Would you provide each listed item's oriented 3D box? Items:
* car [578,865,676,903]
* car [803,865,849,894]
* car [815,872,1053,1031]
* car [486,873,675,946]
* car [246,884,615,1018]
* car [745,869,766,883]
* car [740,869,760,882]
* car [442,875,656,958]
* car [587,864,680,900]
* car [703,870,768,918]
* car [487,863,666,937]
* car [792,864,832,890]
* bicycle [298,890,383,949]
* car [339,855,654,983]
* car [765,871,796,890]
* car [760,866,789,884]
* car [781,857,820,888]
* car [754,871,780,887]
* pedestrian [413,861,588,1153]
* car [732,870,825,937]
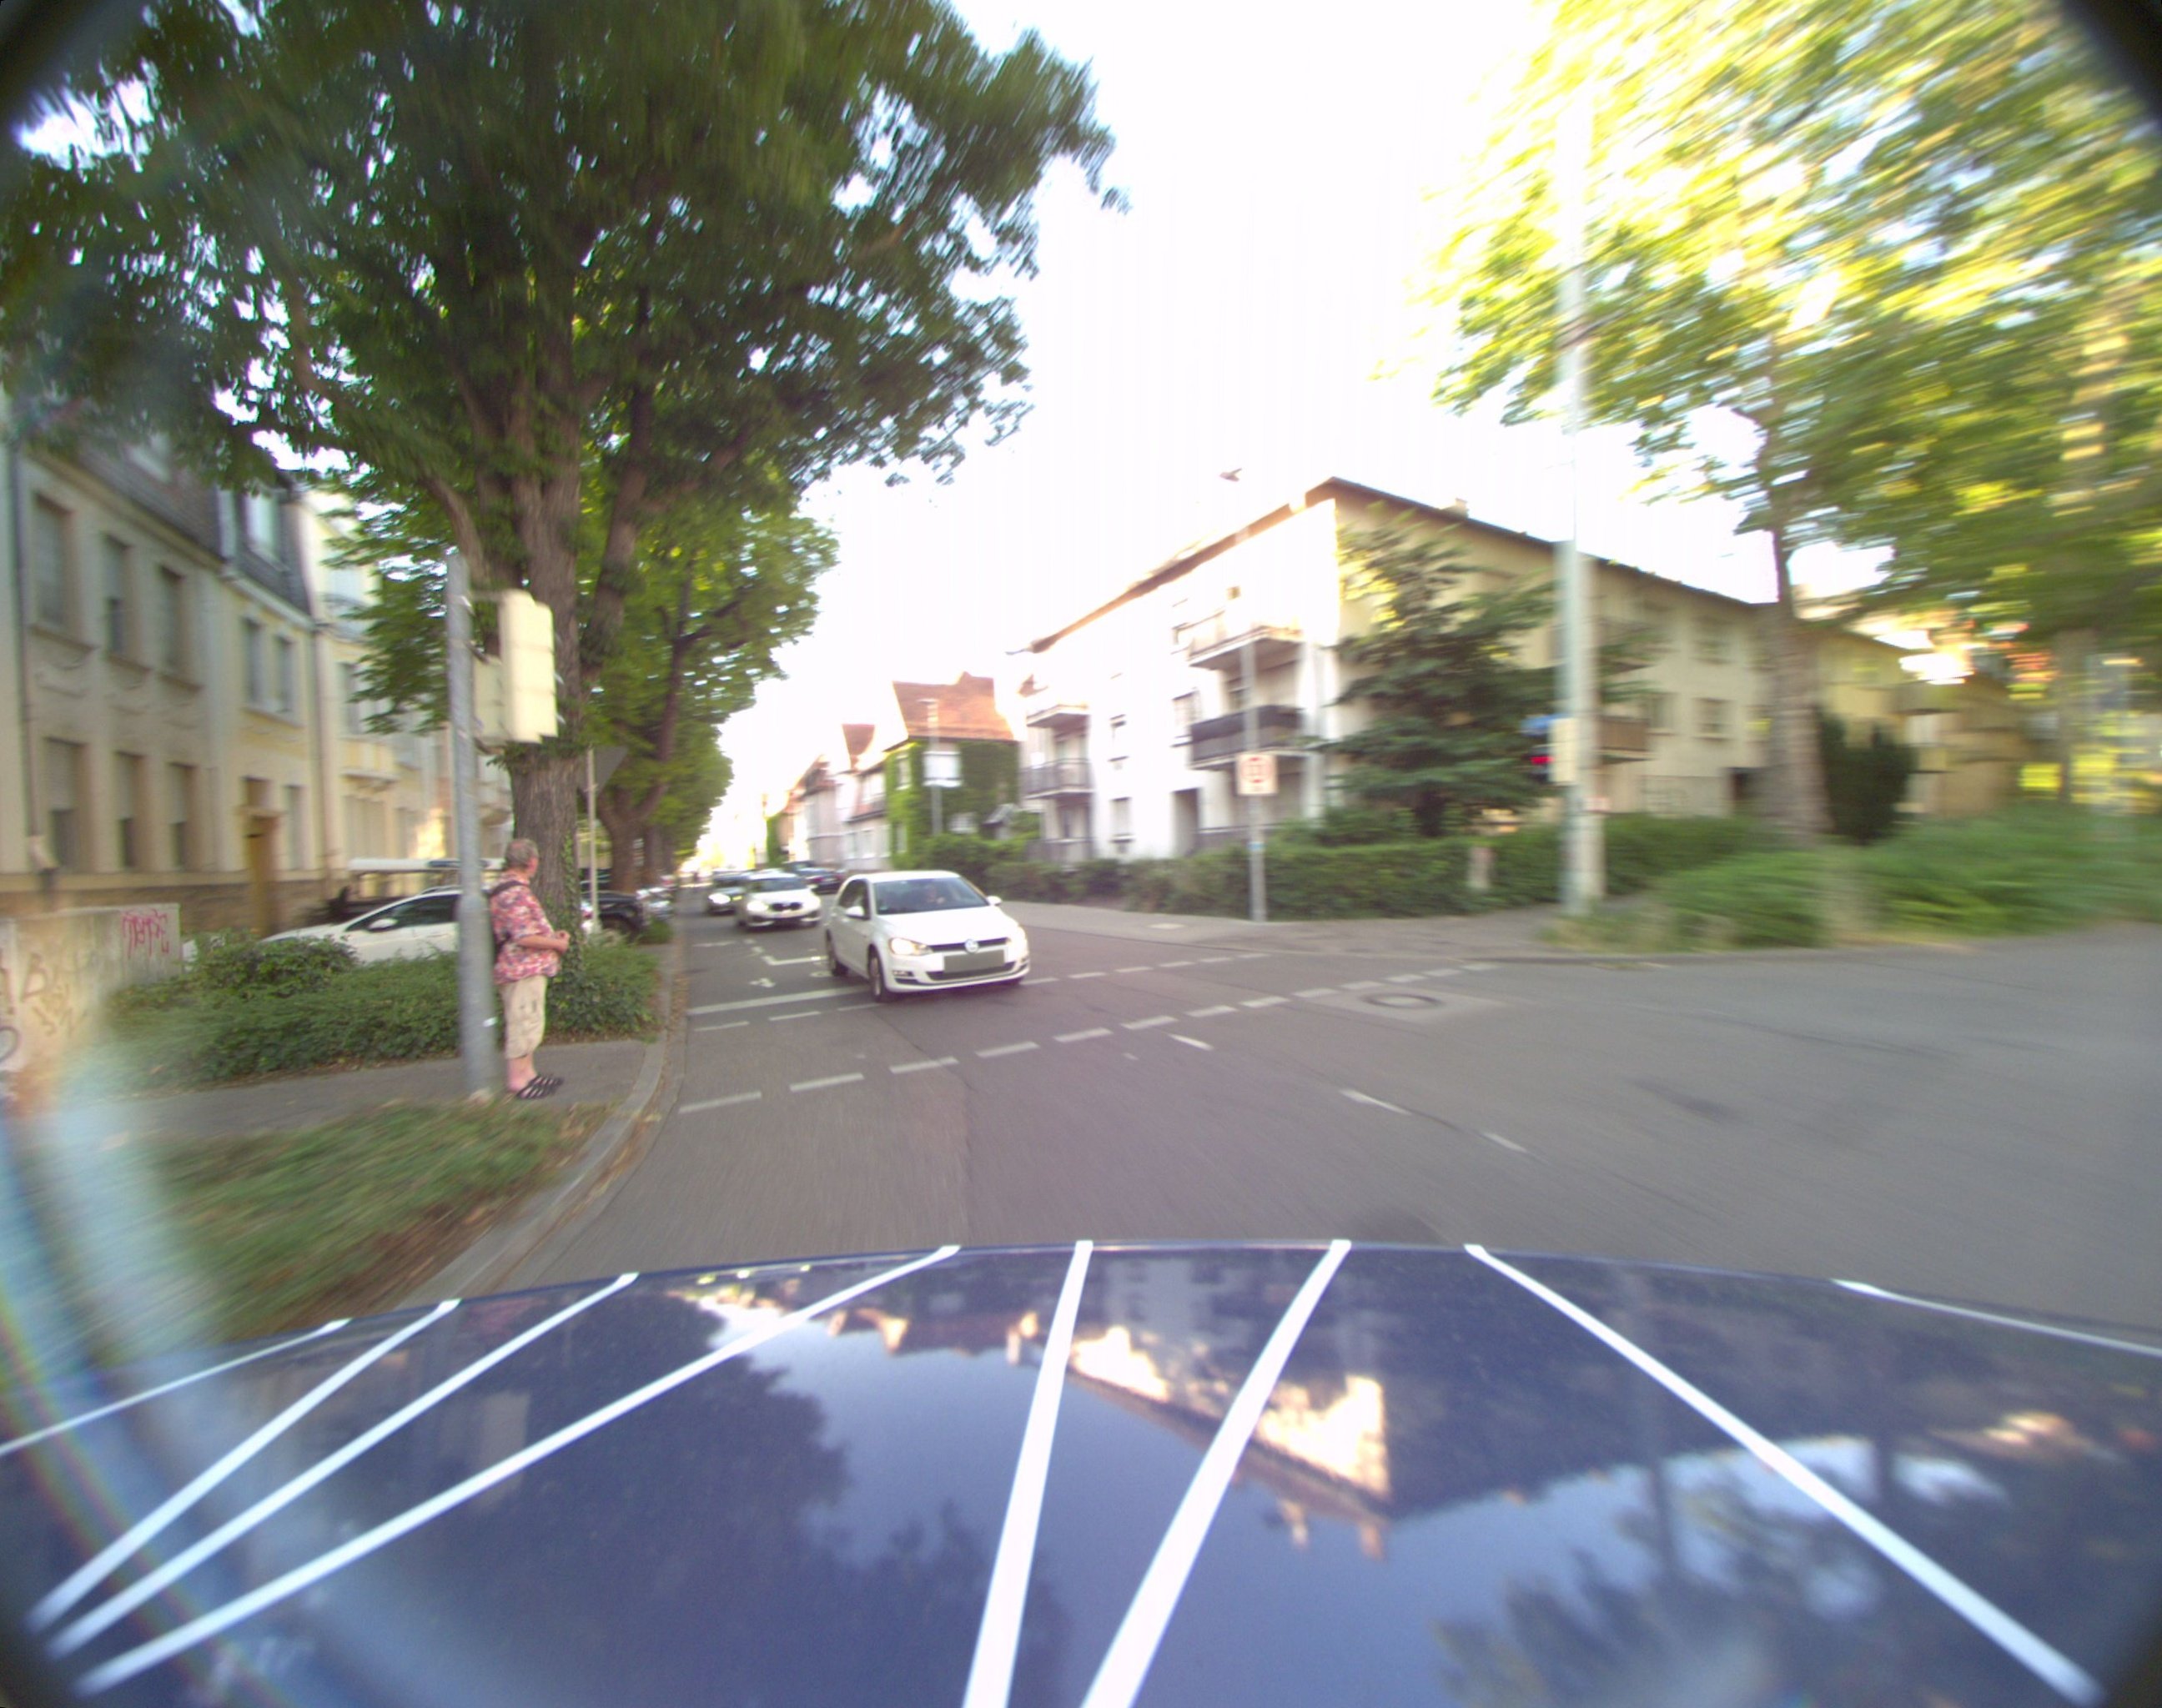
[{"bbox_3d":[-26.497,1.691,44.528,4.719,1.863,1.995,-4,1,-29],"label":"car"},{"bbox_3d":[-14.239,1.394,42.265,1.696,1.445,3.991,-4,1,-28],"label":"car"},{"bbox_3d":[-2.129,1.037,9.913,1.847,1.442,4.102,-4,1,-28],"label":"car"},{"bbox_3d":[-13.963,1.472,21.528,4.217,1.598,1.995,-4,2,-29],"label":"car"},{"bbox_3d":[-9.693,1.357,11.812,4.054,1.566,1.680,-2,0,-29],"label":"car"},{"bbox_3d":[-38.730,2.599,90.328,1.824,1.419,4.279,-4,1,-28],"label":"car"},{"bbox_3d":[-42.164,2.711,96.752,1.824,1.419,4.279,-4,1,-28],"label":"car"},{"bbox_3d":[-13.307,1.491,19.385,4.217,1.619,1.969,-4,1,-29],"label":"car"},{"bbox_3d":[-27.563,1.702,46.958,4.719,1.863,1.995,-4,1,-29],"label":"car"},{"bbox_3d":[-13.143,1.436,28.774,1.847,1.509,4.743,-4,1,-28],"label":"car"},{"bbox_3d":[-16.621,1.440,25.383,4.719,2.002,1.995,-4,1,-29],"label":"car"},{"bbox_3d":[-16.995,1.446,47.870,1.696,1.445,3.991,-4,1,-28],"label":"car"},{"bbox_3d":[-18.098,1.569,18.632,0.763,1.277,2.199,0,0,-24],"label":"bicycle"},{"bbox_3d":[-10.734,1.088,14.450,4.441,1.973,1.755,-2,3,-28],"label":"car"},{"bbox_3d":[-24.734,2.143,62.505,1.824,1.419,4.279,-4,1,-28],"label":"car"},{"bbox_3d":[-27.220,1.862,67.380,1.824,1.419,4.279,-4,1,-28],"label":"car"},{"bbox_3d":[-19.294,1.256,52.128,1.824,1.895,4.279,-4,1,-28],"label":"car"},{"bbox_3d":[-30.912,2.441,74.671,1.824,1.419,4.279,-4,1,-28],"label":"car"},{"bbox_3d":[-3.915,0.966,5.197,0.703,1.796,0.665,-4,2,-22],"label":"pedestrian"},{"bbox_3d":[-8.368,1.262,20.820,1.847,1.509,4.013,-4,1,-28],"label":"car"}]
